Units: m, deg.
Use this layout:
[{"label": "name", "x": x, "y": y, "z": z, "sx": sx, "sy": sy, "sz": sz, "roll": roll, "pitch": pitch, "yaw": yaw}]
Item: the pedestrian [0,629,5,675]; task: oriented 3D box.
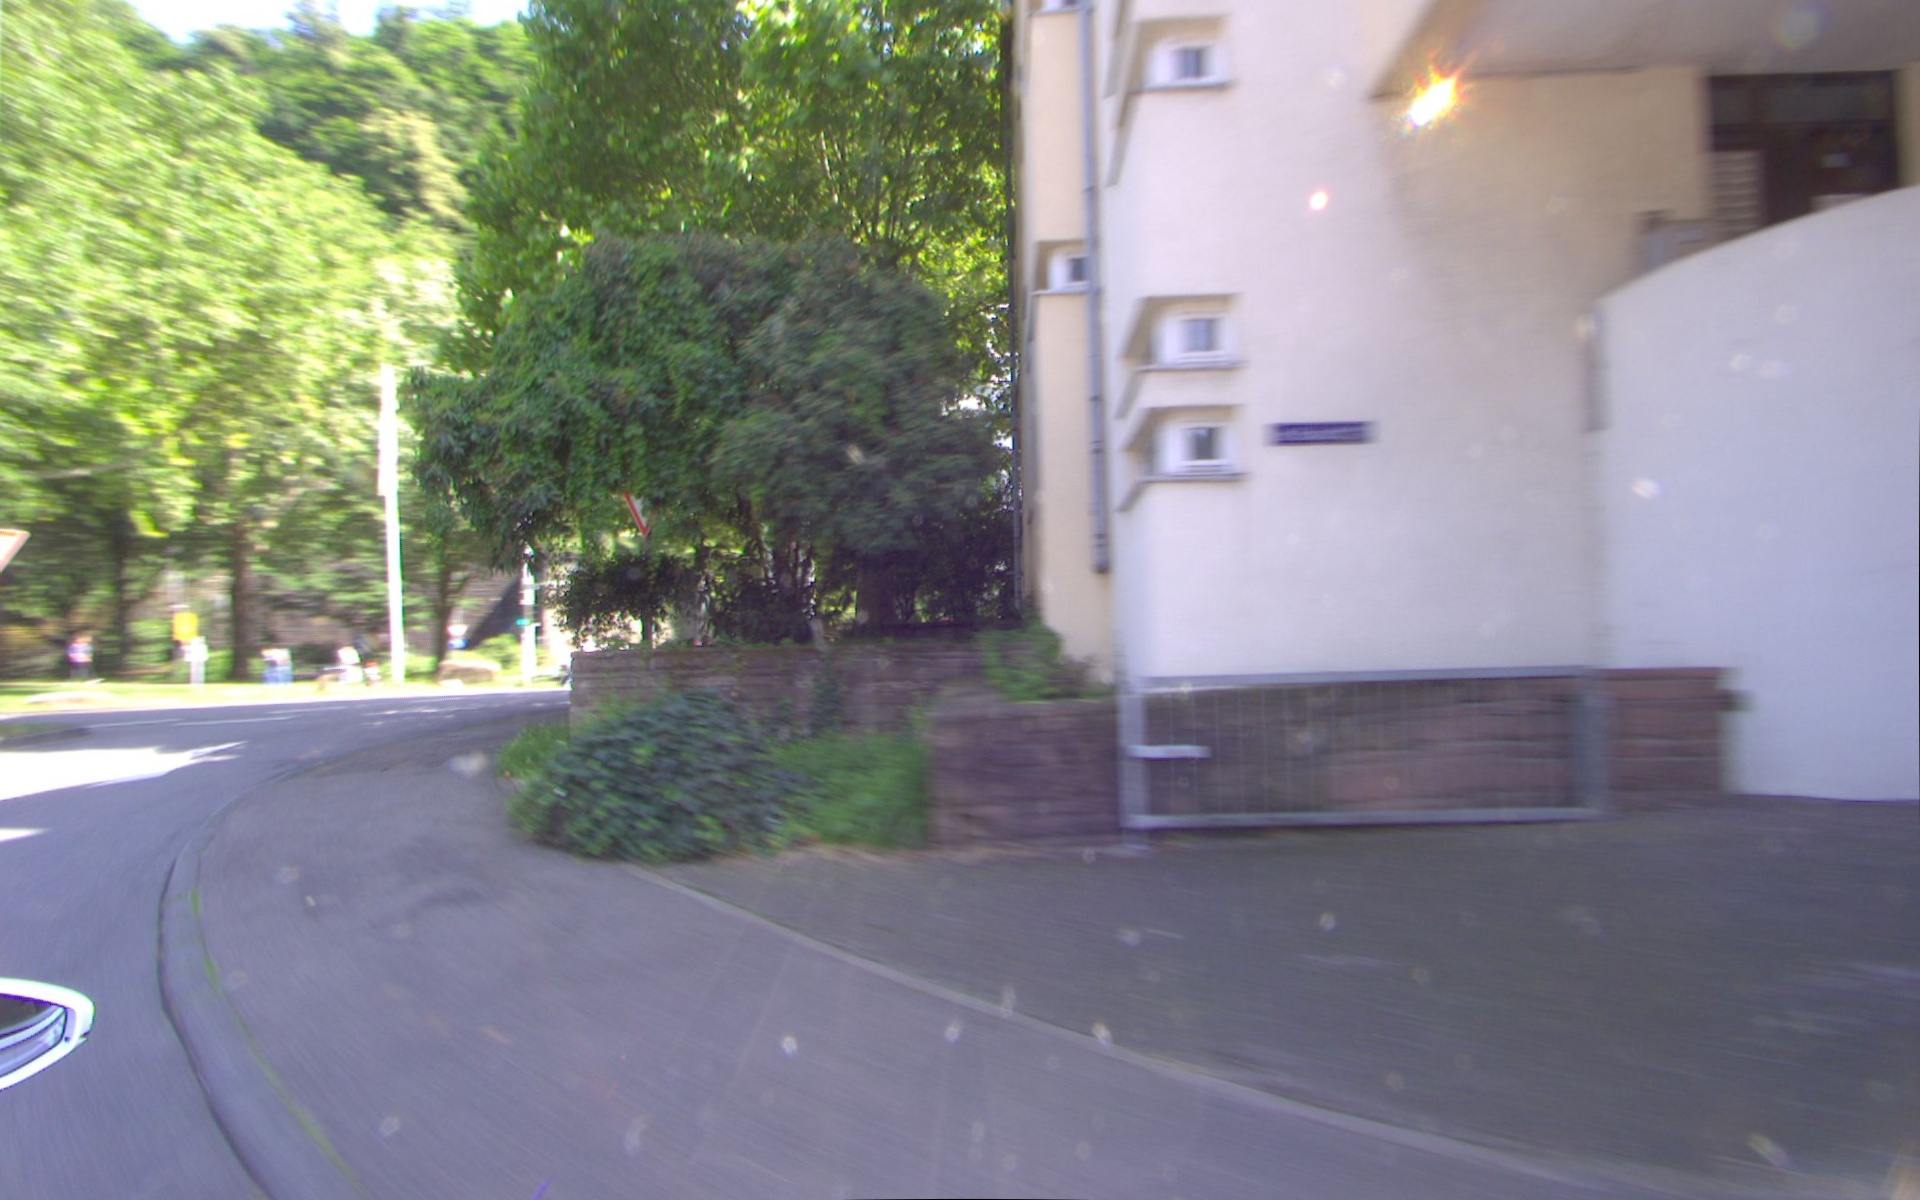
[{"label": "pedestrian", "x": -37.698, "y": 2.015, "z": 38.723, "sx": 0.653, "sy": 1.777, "sz": 0.796, "roll": 0, "pitch": -4, "yaw": 10}]

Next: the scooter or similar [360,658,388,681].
[{"label": "scooter or similar", "x": -20.893, "y": 2.474, "z": 35.705, "sx": 0.720, "sy": 0.823, "sz": 0.569, "roll": 0, "pitch": -1, "yaw": -13}]

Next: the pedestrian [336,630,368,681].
[{"label": "pedestrian", "x": -21.610, "y": 1.955, "z": 35.602, "sx": 0.748, "sy": 1.778, "sz": 0.764, "roll": 0, "pitch": -1, "yaw": -13}]

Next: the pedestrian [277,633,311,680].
[{"label": "pedestrian", "x": -25.451, "y": 2.171, "z": 38.259, "sx": 0.653, "sy": 1.777, "sz": 0.796, "roll": 0, "pitch": -4, "yaw": 10}]

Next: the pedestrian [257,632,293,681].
[{"label": "pedestrian", "x": -25.602, "y": 2.124, "z": 37.430, "sx": 0.653, "sy": 1.777, "sz": 0.796, "roll": 0, "pitch": -3, "yaw": 10}]

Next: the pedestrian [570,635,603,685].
[{"label": "pedestrian", "x": -13.290, "y": 2.138, "z": 35.650, "sx": 0.748, "sy": 1.777, "sz": 0.765, "roll": 0, "pitch": -4, "yaw": 10}]

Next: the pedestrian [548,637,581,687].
[{"label": "pedestrian", "x": -14.184, "y": 2.219, "z": 35.915, "sx": 0.748, "sy": 1.777, "sz": 0.765, "roll": 0, "pitch": -4, "yaw": 10}]

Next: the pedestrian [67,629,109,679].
[{"label": "pedestrian", "x": -31.104, "y": 1.940, "z": 35.710, "sx": 0.708, "sy": 1.777, "sz": 0.796, "roll": 0, "pitch": -4, "yaw": 10}]

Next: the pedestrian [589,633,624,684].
[{"label": "pedestrian", "x": -12.440, "y": 2.056, "z": 35.243, "sx": 0.851, "sy": 1.777, "sz": 0.803, "roll": 0, "pitch": -4, "yaw": 10}]

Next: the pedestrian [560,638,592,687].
[{"label": "pedestrian", "x": -14.057, "y": 2.288, "z": 36.688, "sx": 0.748, "sy": 1.777, "sz": 0.765, "roll": 0, "pitch": -4, "yaw": 10}]

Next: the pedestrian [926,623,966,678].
[{"label": "pedestrian", "x": -0.498, "y": 1.784, "z": 35.497, "sx": 1.059, "sy": 1.919, "sz": 0.953, "roll": -1, "pitch": -1, "yaw": 34}]
